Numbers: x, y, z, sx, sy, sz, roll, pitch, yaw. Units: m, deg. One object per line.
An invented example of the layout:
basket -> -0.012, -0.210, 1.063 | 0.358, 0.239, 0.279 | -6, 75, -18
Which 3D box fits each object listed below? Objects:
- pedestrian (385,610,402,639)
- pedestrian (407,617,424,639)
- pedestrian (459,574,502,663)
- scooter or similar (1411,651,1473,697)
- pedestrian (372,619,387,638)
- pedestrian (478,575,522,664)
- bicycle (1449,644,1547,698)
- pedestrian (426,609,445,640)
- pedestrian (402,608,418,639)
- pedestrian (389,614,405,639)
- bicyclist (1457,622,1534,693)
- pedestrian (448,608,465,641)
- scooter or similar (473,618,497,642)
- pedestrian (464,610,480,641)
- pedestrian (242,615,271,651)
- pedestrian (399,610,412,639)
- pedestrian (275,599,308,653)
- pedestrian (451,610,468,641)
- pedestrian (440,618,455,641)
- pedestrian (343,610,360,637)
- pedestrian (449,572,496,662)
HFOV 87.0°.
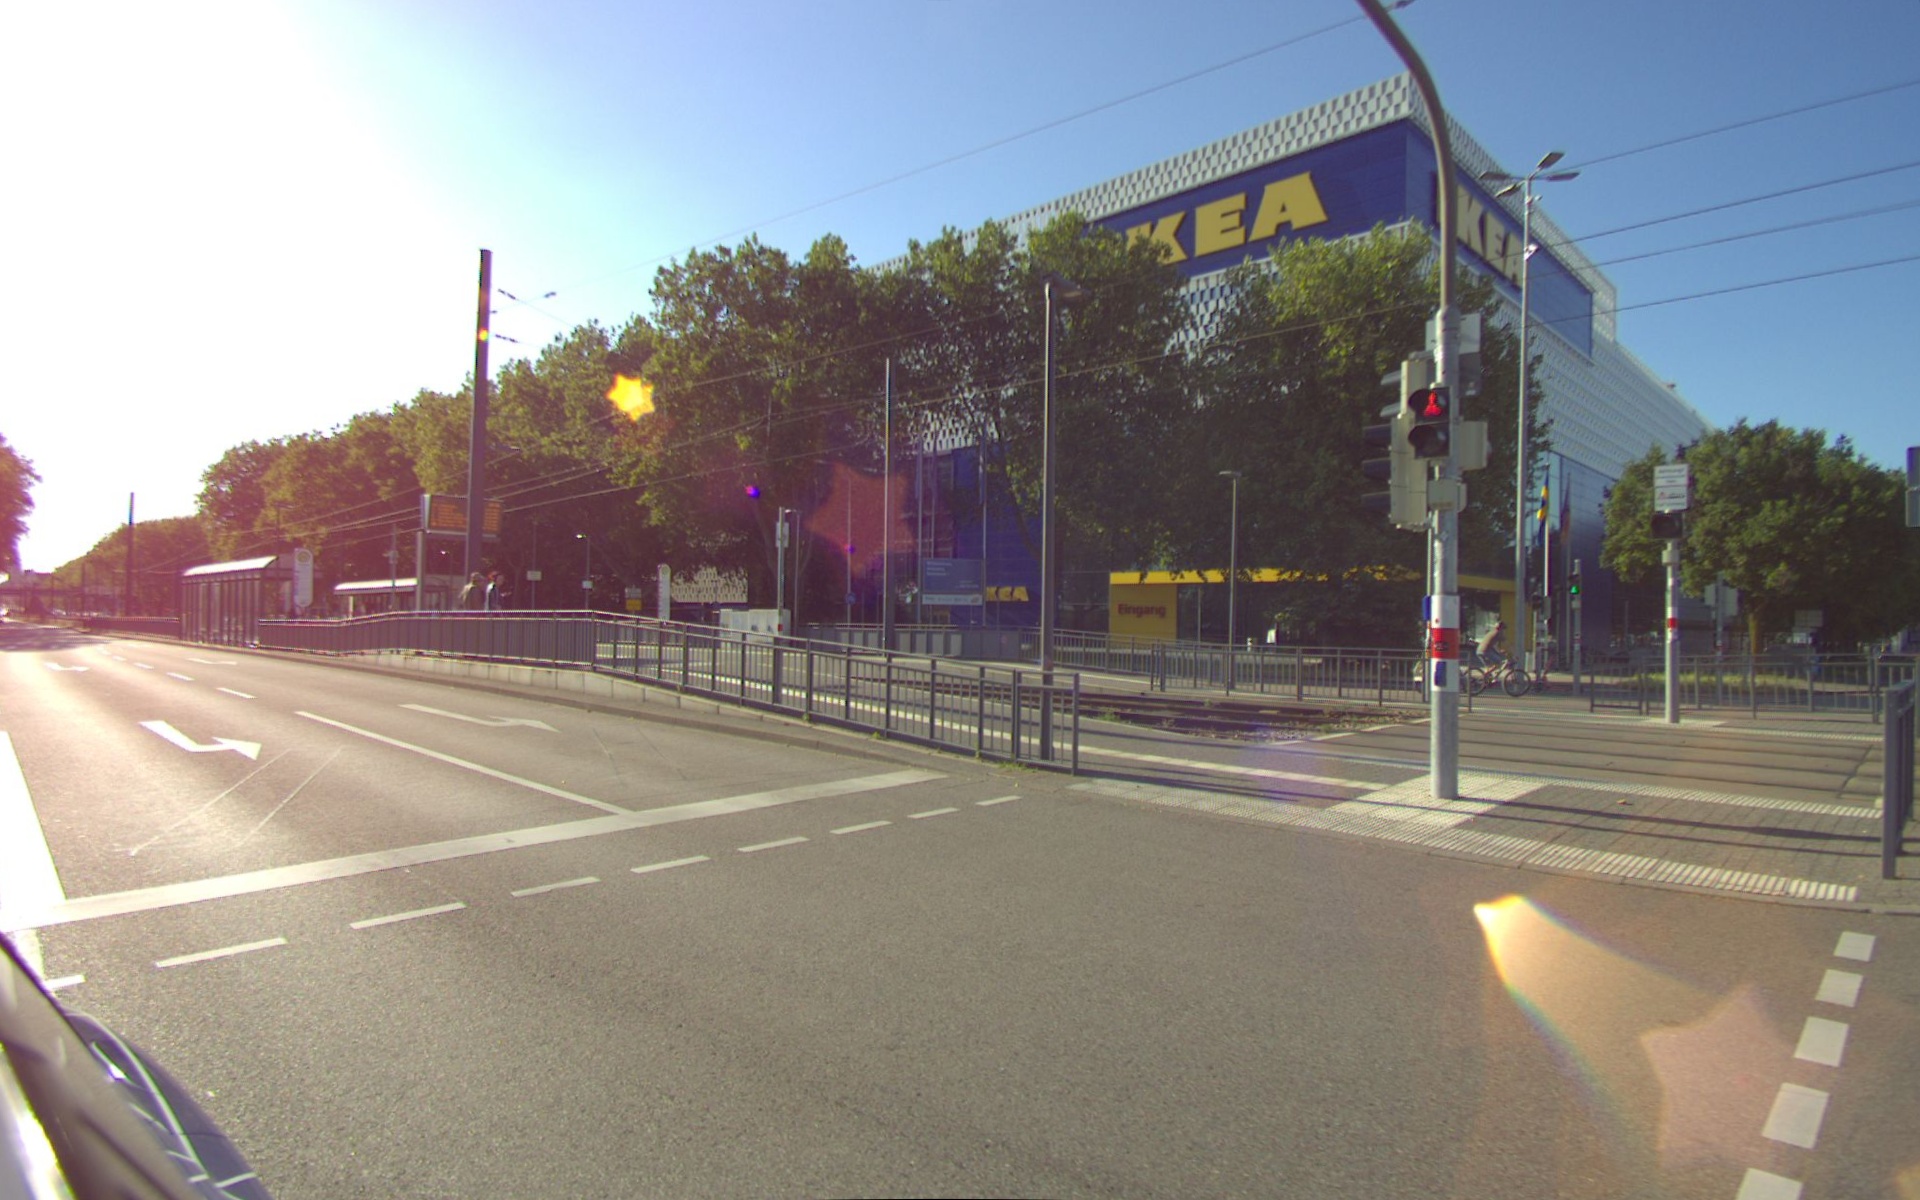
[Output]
pedestrian -> -32.181, 1.395, 57.448 | 0.652, 1.645, 0.777 | -1, -1, -44
pedestrian -> -31.529, 1.615, 58.620 | 0.685, 1.262, 0.646 | -2, 0, 42
pedestrian -> -9.496, 0.353, 20.022 | 0.527, 1.706, 0.761 | -2, 1, -43
scooter or similar -> 11.382, 1.745, 23.927 | 1.048, 1.023, 0.791 | 2, -1, -18
pedestrian -> -36.900, 1.814, 64.326 | 0.624, 1.171, 0.670 | -1, -2, 43
pedestrian -> -8.809, 0.357, 19.375 | 0.527, 1.669, 0.751 | -1, 0, -43
bicycle -> 12.965, 1.701, 24.385 | 2.240, 1.227, 0.717 | 2, -1, -18
pedestrian -> -29.255, 1.377, 56.447 | 0.685, 1.704, 0.725 | -2, 0, 35
pedestrian -> -31.100, 1.320, 57.205 | 0.645, 1.755, 0.686 | -1, 0, -42
pedestrian -> -34.032, 1.613, 61.167 | 0.575, 1.503, 0.664 | -1, -2, 32
bicyclist -> 12.905, 1.380, 24.382 | 1.461, 1.629, 0.825 | 2, -1, -18
pedestrian -> -27.253, 1.328, 54.770 | 0.643, 1.732, 0.636 | 0, -1, -41
scooter or similar -> -24.284, 1.530, 51.723 | 1.373, 1.244, 0.656 | -1, -2, 45
pedestrian -> -25.797, 1.353, 53.480 | 0.594, 1.632, 0.691 | 0, -1, -41
pedestrian -> -24.799, 1.159, 35.673 | 0.672, 1.241, 0.879 | -1, 0, -45
pedestrian -> -32.311, 1.435, 58.995 | 0.568, 1.648, 0.645 | 1, -2, -36
pedestrian -> -21.906, 0.849, 33.170 | 0.821, 1.729, 0.686 | -1, -1, 41
pedestrian -> -26.887, 1.376, 54.362 | 0.643, 1.632, 0.636 | 0, -1, -41
pedestrian -> -27.912, 1.590, 55.119 | 0.594, 1.234, 0.618 | 0, -1, -41
pedestrian -> -39.158, 1.491, 65.127 | 0.752, 1.723, 0.679 | 1, -2, -44
pedestrian -> -9.923, 0.326, 20.605 | 0.698, 1.788, 0.536 | -2, 1, -41
